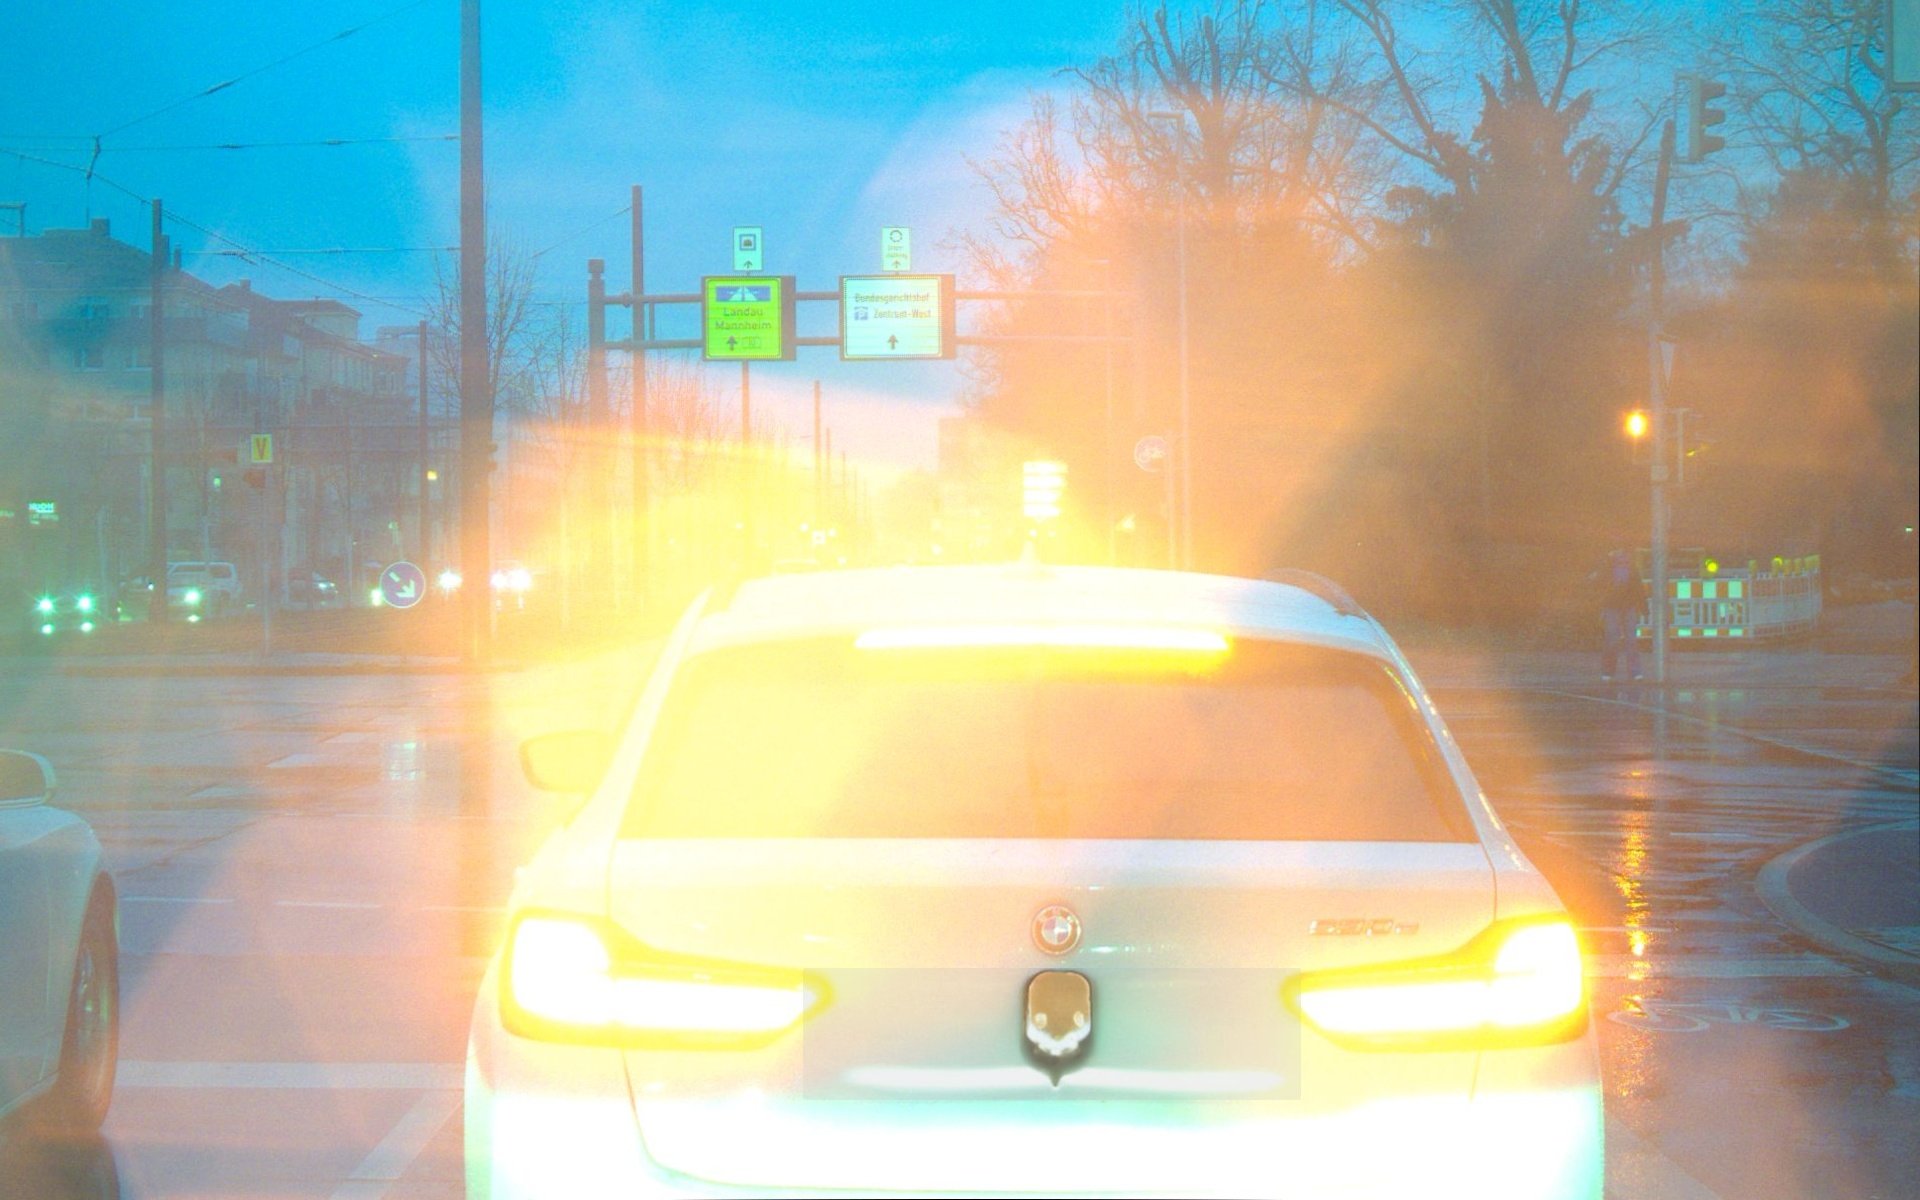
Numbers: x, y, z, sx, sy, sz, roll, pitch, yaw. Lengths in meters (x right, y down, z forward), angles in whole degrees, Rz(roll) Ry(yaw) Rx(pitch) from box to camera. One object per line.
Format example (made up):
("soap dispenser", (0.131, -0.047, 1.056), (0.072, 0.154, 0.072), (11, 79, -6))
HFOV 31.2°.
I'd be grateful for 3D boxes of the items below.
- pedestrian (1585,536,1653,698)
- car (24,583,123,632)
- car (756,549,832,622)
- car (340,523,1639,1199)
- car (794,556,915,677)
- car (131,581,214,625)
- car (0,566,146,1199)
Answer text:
("pedestrian", (7.714, 0.191, 40.228), (0.713, 1.873, 0.675), (1, 0, 14))
("car", (-28.107, 0.229, 109.160), (1.993, 1.457, 5.095), (1, 1, -2))
("car", (-4.705, -0.410, 97.753), (1.993, 2.007, 4.000), (1, 1, -1))
("car", (-0.057, 0.660, 6.810), (1.759, 1.547, 4.252), (1, 1, -3))
("car", (-1.792, 0.259, 59.520), (1.993, 2.007, 4.000), (1, 1, -1))
("car", (-28.117, 0.094, 122.848), (1.993, 1.457, 5.095), (1, 1, -2))
("car", (-2.953, 0.659, 6.981), (1.759, 1.464, 4.252), (1, 1, -3))
